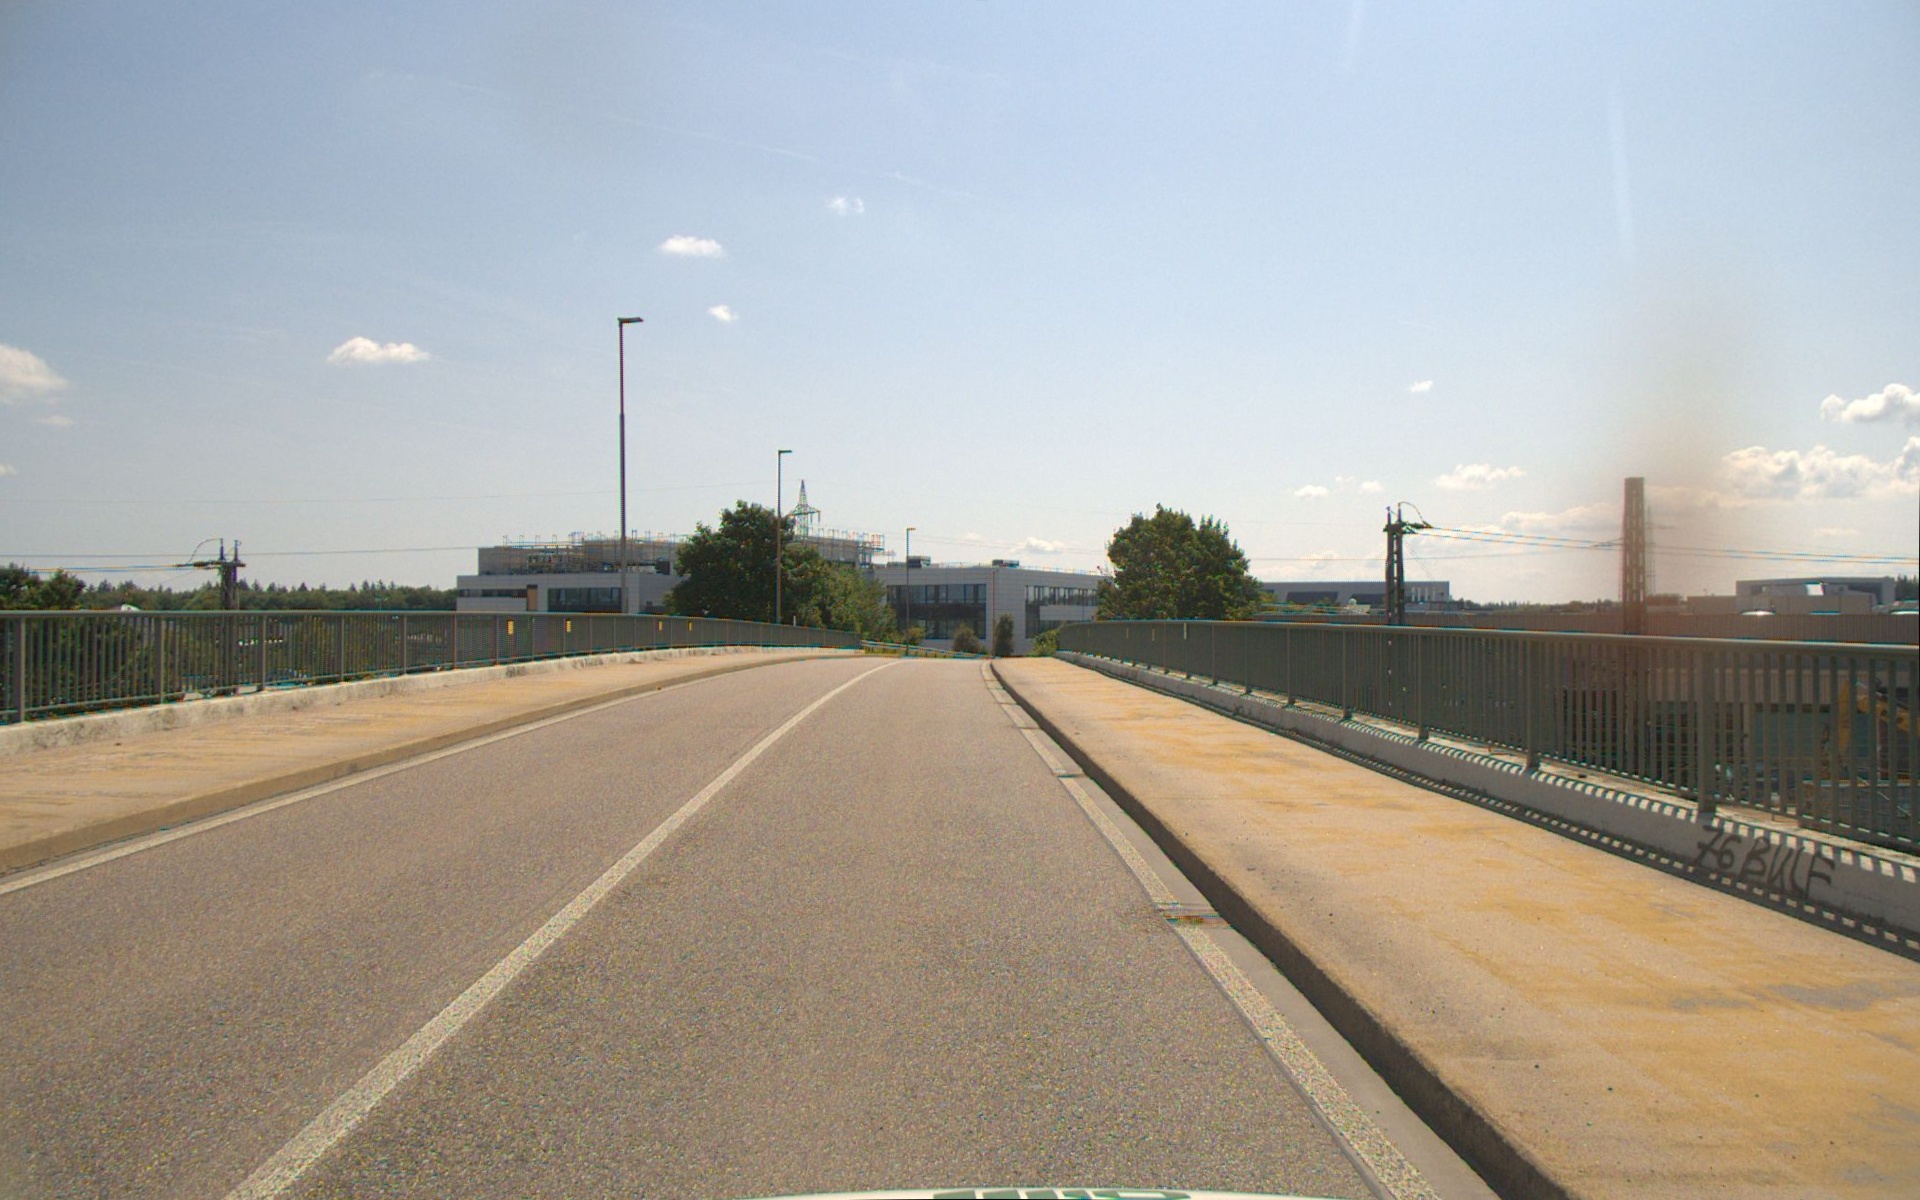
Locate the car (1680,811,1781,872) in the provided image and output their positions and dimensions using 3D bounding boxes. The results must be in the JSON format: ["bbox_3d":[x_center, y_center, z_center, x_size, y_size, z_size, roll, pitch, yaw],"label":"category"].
[{"bbox_3d":[29.881,9.352,64.272,1.953,1.623,4.245,4,-1,2],"label":"car"}]
